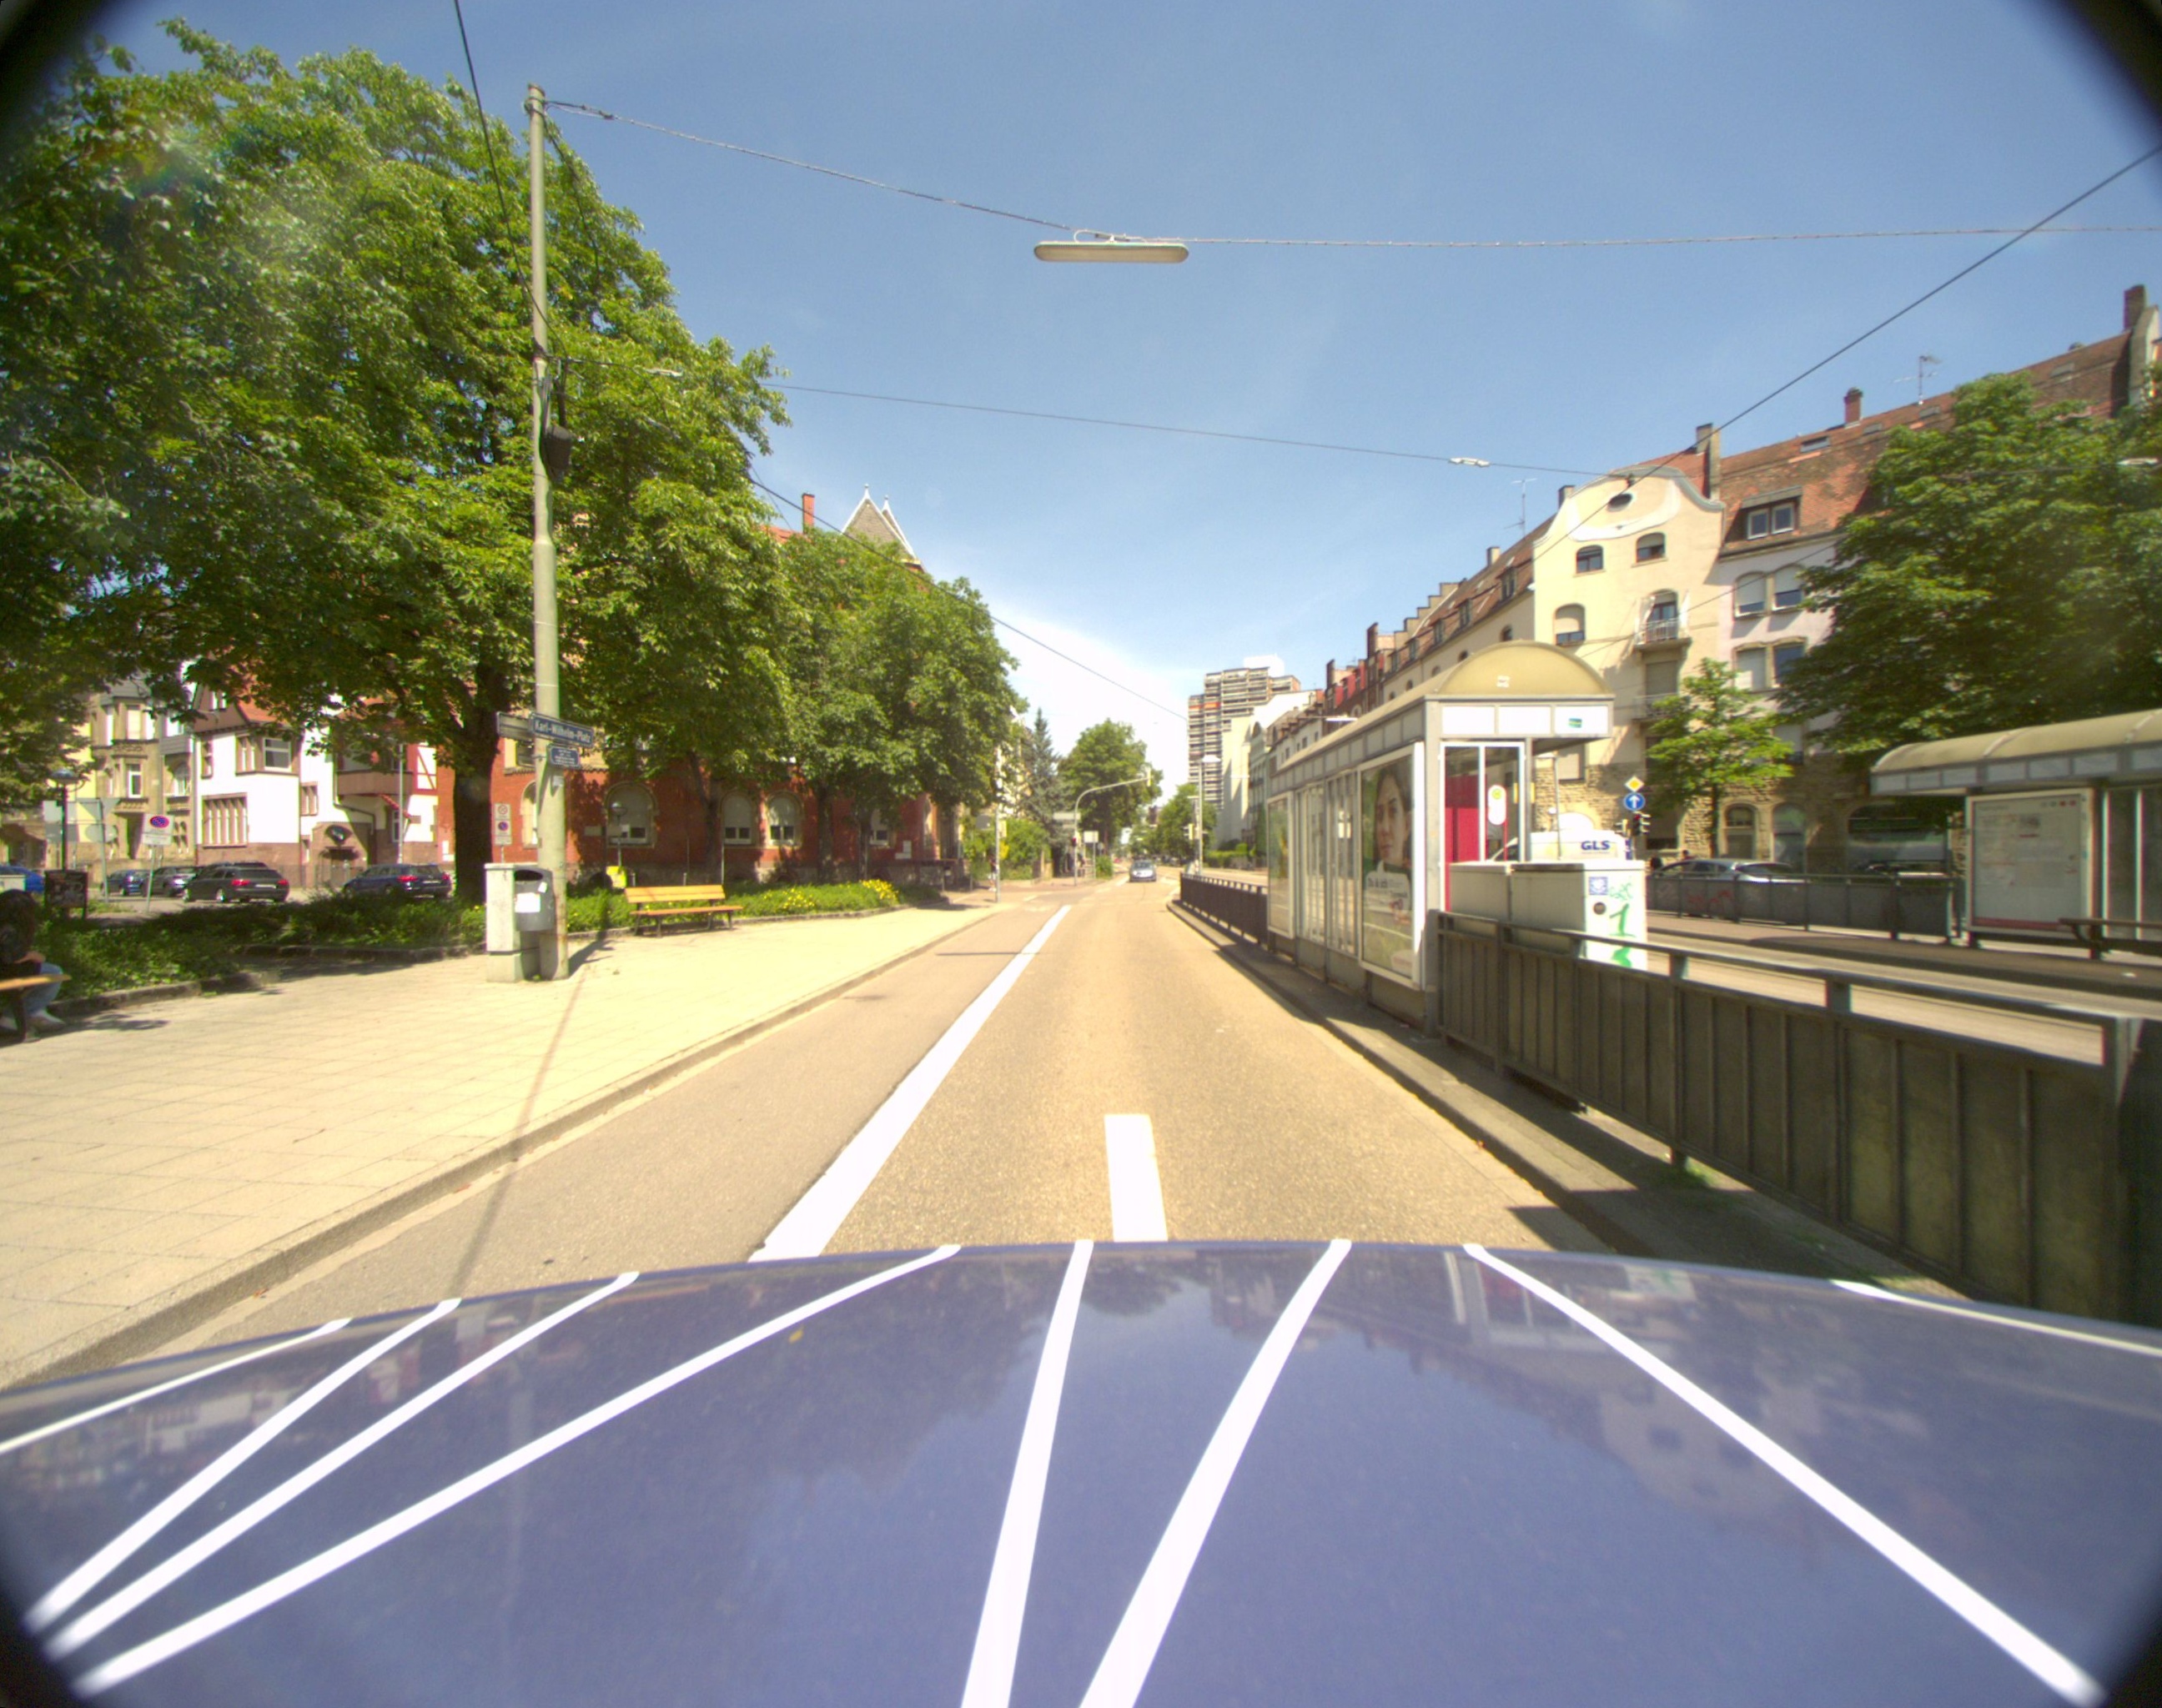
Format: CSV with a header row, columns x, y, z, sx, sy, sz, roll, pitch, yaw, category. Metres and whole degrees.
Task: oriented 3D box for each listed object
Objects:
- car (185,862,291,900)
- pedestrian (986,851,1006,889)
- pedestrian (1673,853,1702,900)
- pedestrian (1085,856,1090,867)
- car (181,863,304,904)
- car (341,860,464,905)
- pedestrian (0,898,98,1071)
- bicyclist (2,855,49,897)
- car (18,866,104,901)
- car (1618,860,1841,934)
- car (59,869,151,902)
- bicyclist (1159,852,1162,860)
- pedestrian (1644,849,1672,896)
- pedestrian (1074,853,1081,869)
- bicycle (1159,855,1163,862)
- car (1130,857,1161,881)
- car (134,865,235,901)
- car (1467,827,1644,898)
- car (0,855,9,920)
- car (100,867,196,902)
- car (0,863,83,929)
x,y,z,sx,sy,sz,roll,pitch,yaw,category
-39.588,1.274,35.670,4.299,1.608,1.941,-2,1,23,car
-4.175,0.774,37.281,0.840,1.813,0.672,0,0,-20,pedestrian
20.289,0.747,25.430,0.594,1.542,0.474,0,0,-1,pedestrian
0.966,1.130,120.347,0.686,1.732,0.660,-2,1,3,pedestrian
-33.478,1.179,30.319,5.023,1.474,1.941,-2,1,27,car
-27.042,1.131,30.291,4.299,1.608,1.941,-2,1,23,car
-7.741,0.909,5.422,0.566,1.136,0.725,0,1,-16,pedestrian
-43.988,0.932,31.658,1.251,1.686,0.876,-2,1,26,bicyclist
-59.177,1.710,44.084,4.299,1.862,1.941,-2,1,23,car
14.840,0.904,17.730,1.812,1.386,3.999,-2,1,1,car
-53.022,1.728,41.273,4.299,1.608,1.941,-2,1,23,car
17.829,0.499,170.317,0.644,1.864,0.716,-2,1,-2,bicyclist
20.127,0.644,26.508,0.594,1.637,0.474,0,0,1,pedestrian
-0.349,0.731,78.103,0.702,1.645,0.665,0,0,1,pedestrian
17.859,1.028,170.335,0.644,1.503,1.970,-2,1,-2,bicycle
4.326,0.973,50.872,1.895,1.372,4.001,-2,1,5,car
-44.148,1.430,37.416,4.299,1.608,1.941,-2,1,23,car
19.601,0.337,31.592,2.278,2.658,5.811,-3,1,-44,car
-37.658,1.200,23.799,1.934,2.178,4.315,-2,1,23,car
-48.421,1.572,39.438,4.299,1.608,1.941,-2,1,23,car
-32.842,1.300,22.031,1.934,1.869,4.315,-2,1,23,car
